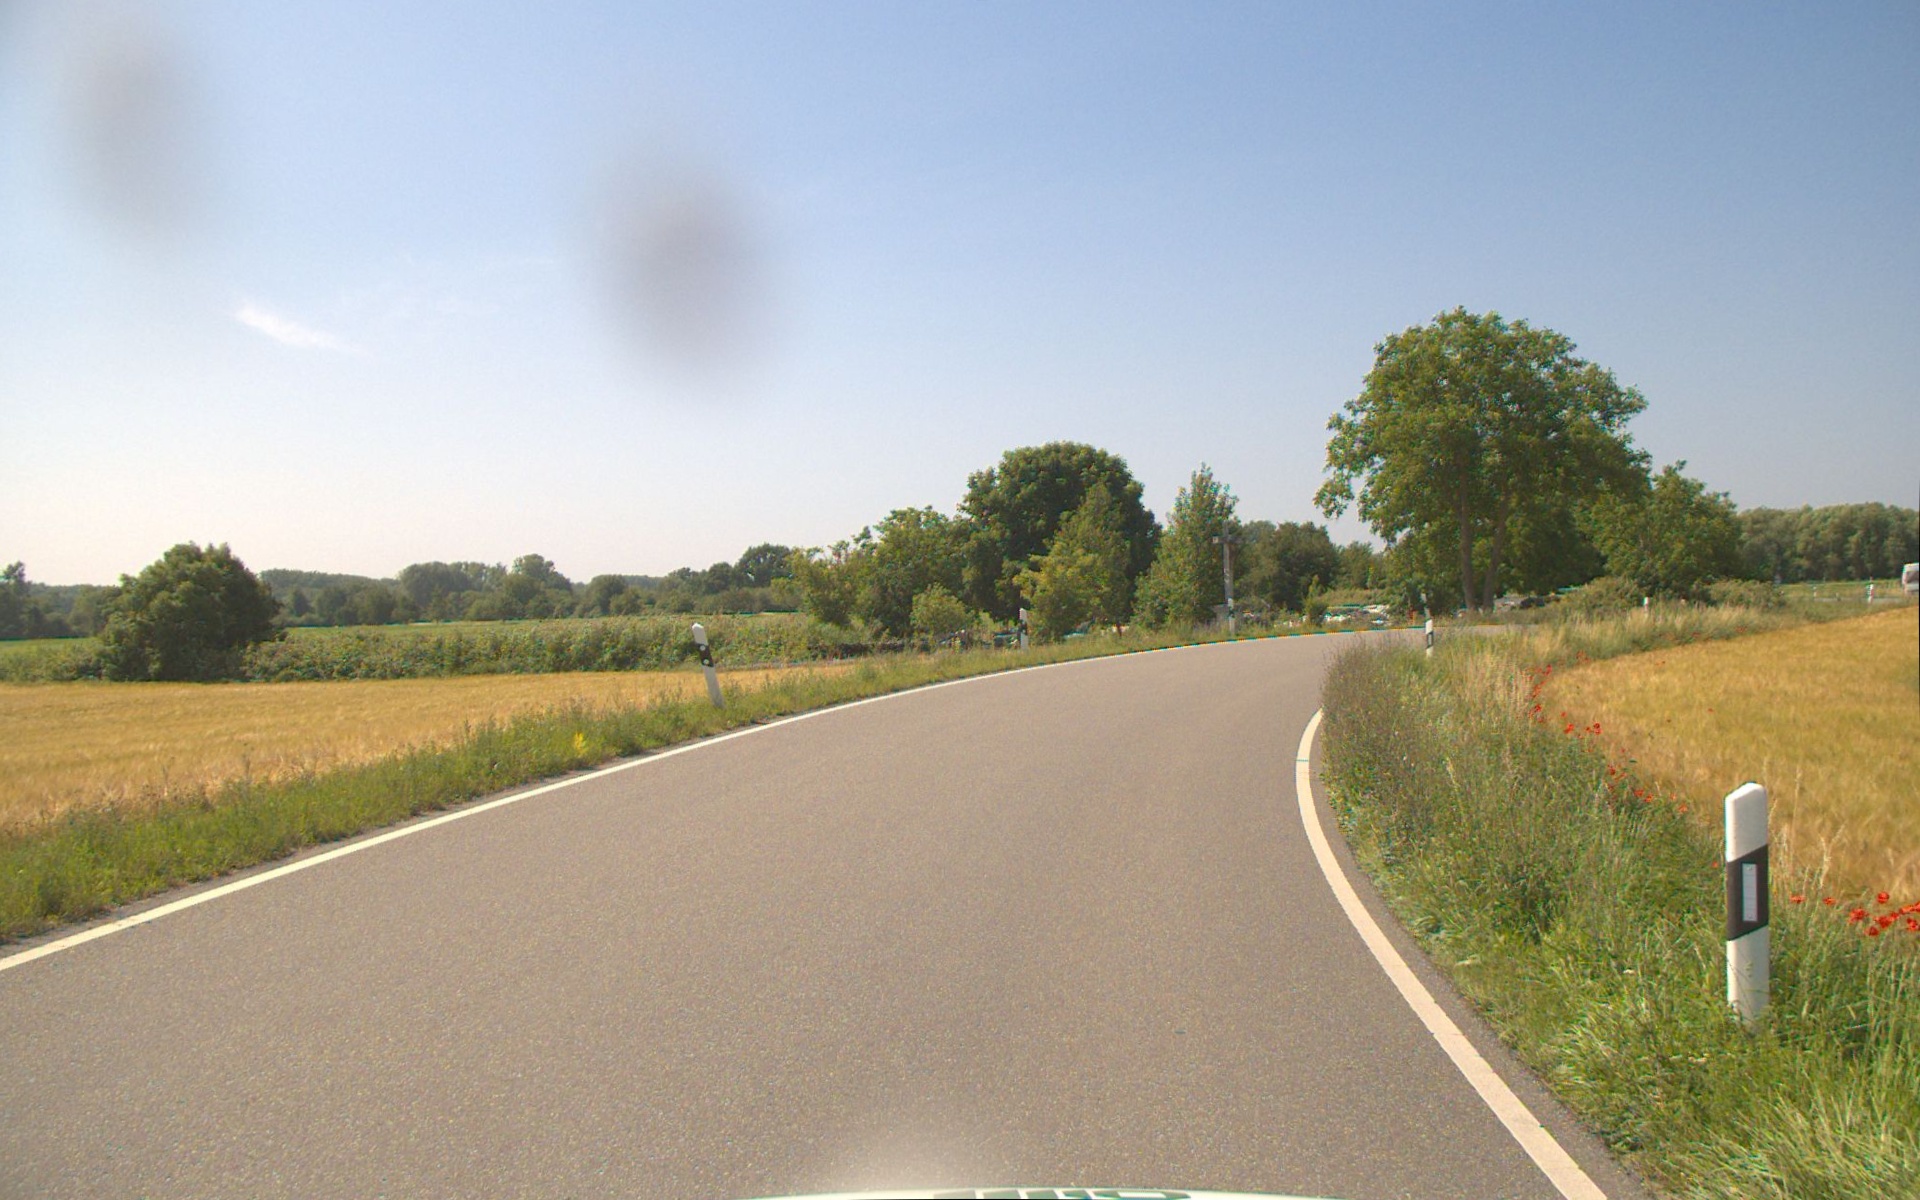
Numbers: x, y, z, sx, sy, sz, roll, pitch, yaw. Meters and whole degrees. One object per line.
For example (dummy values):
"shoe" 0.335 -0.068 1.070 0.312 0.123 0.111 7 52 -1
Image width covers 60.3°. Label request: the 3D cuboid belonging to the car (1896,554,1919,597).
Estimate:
"car" 56.324 -1.485 97.178 2.066 2.408 5.674 -2 0 31
